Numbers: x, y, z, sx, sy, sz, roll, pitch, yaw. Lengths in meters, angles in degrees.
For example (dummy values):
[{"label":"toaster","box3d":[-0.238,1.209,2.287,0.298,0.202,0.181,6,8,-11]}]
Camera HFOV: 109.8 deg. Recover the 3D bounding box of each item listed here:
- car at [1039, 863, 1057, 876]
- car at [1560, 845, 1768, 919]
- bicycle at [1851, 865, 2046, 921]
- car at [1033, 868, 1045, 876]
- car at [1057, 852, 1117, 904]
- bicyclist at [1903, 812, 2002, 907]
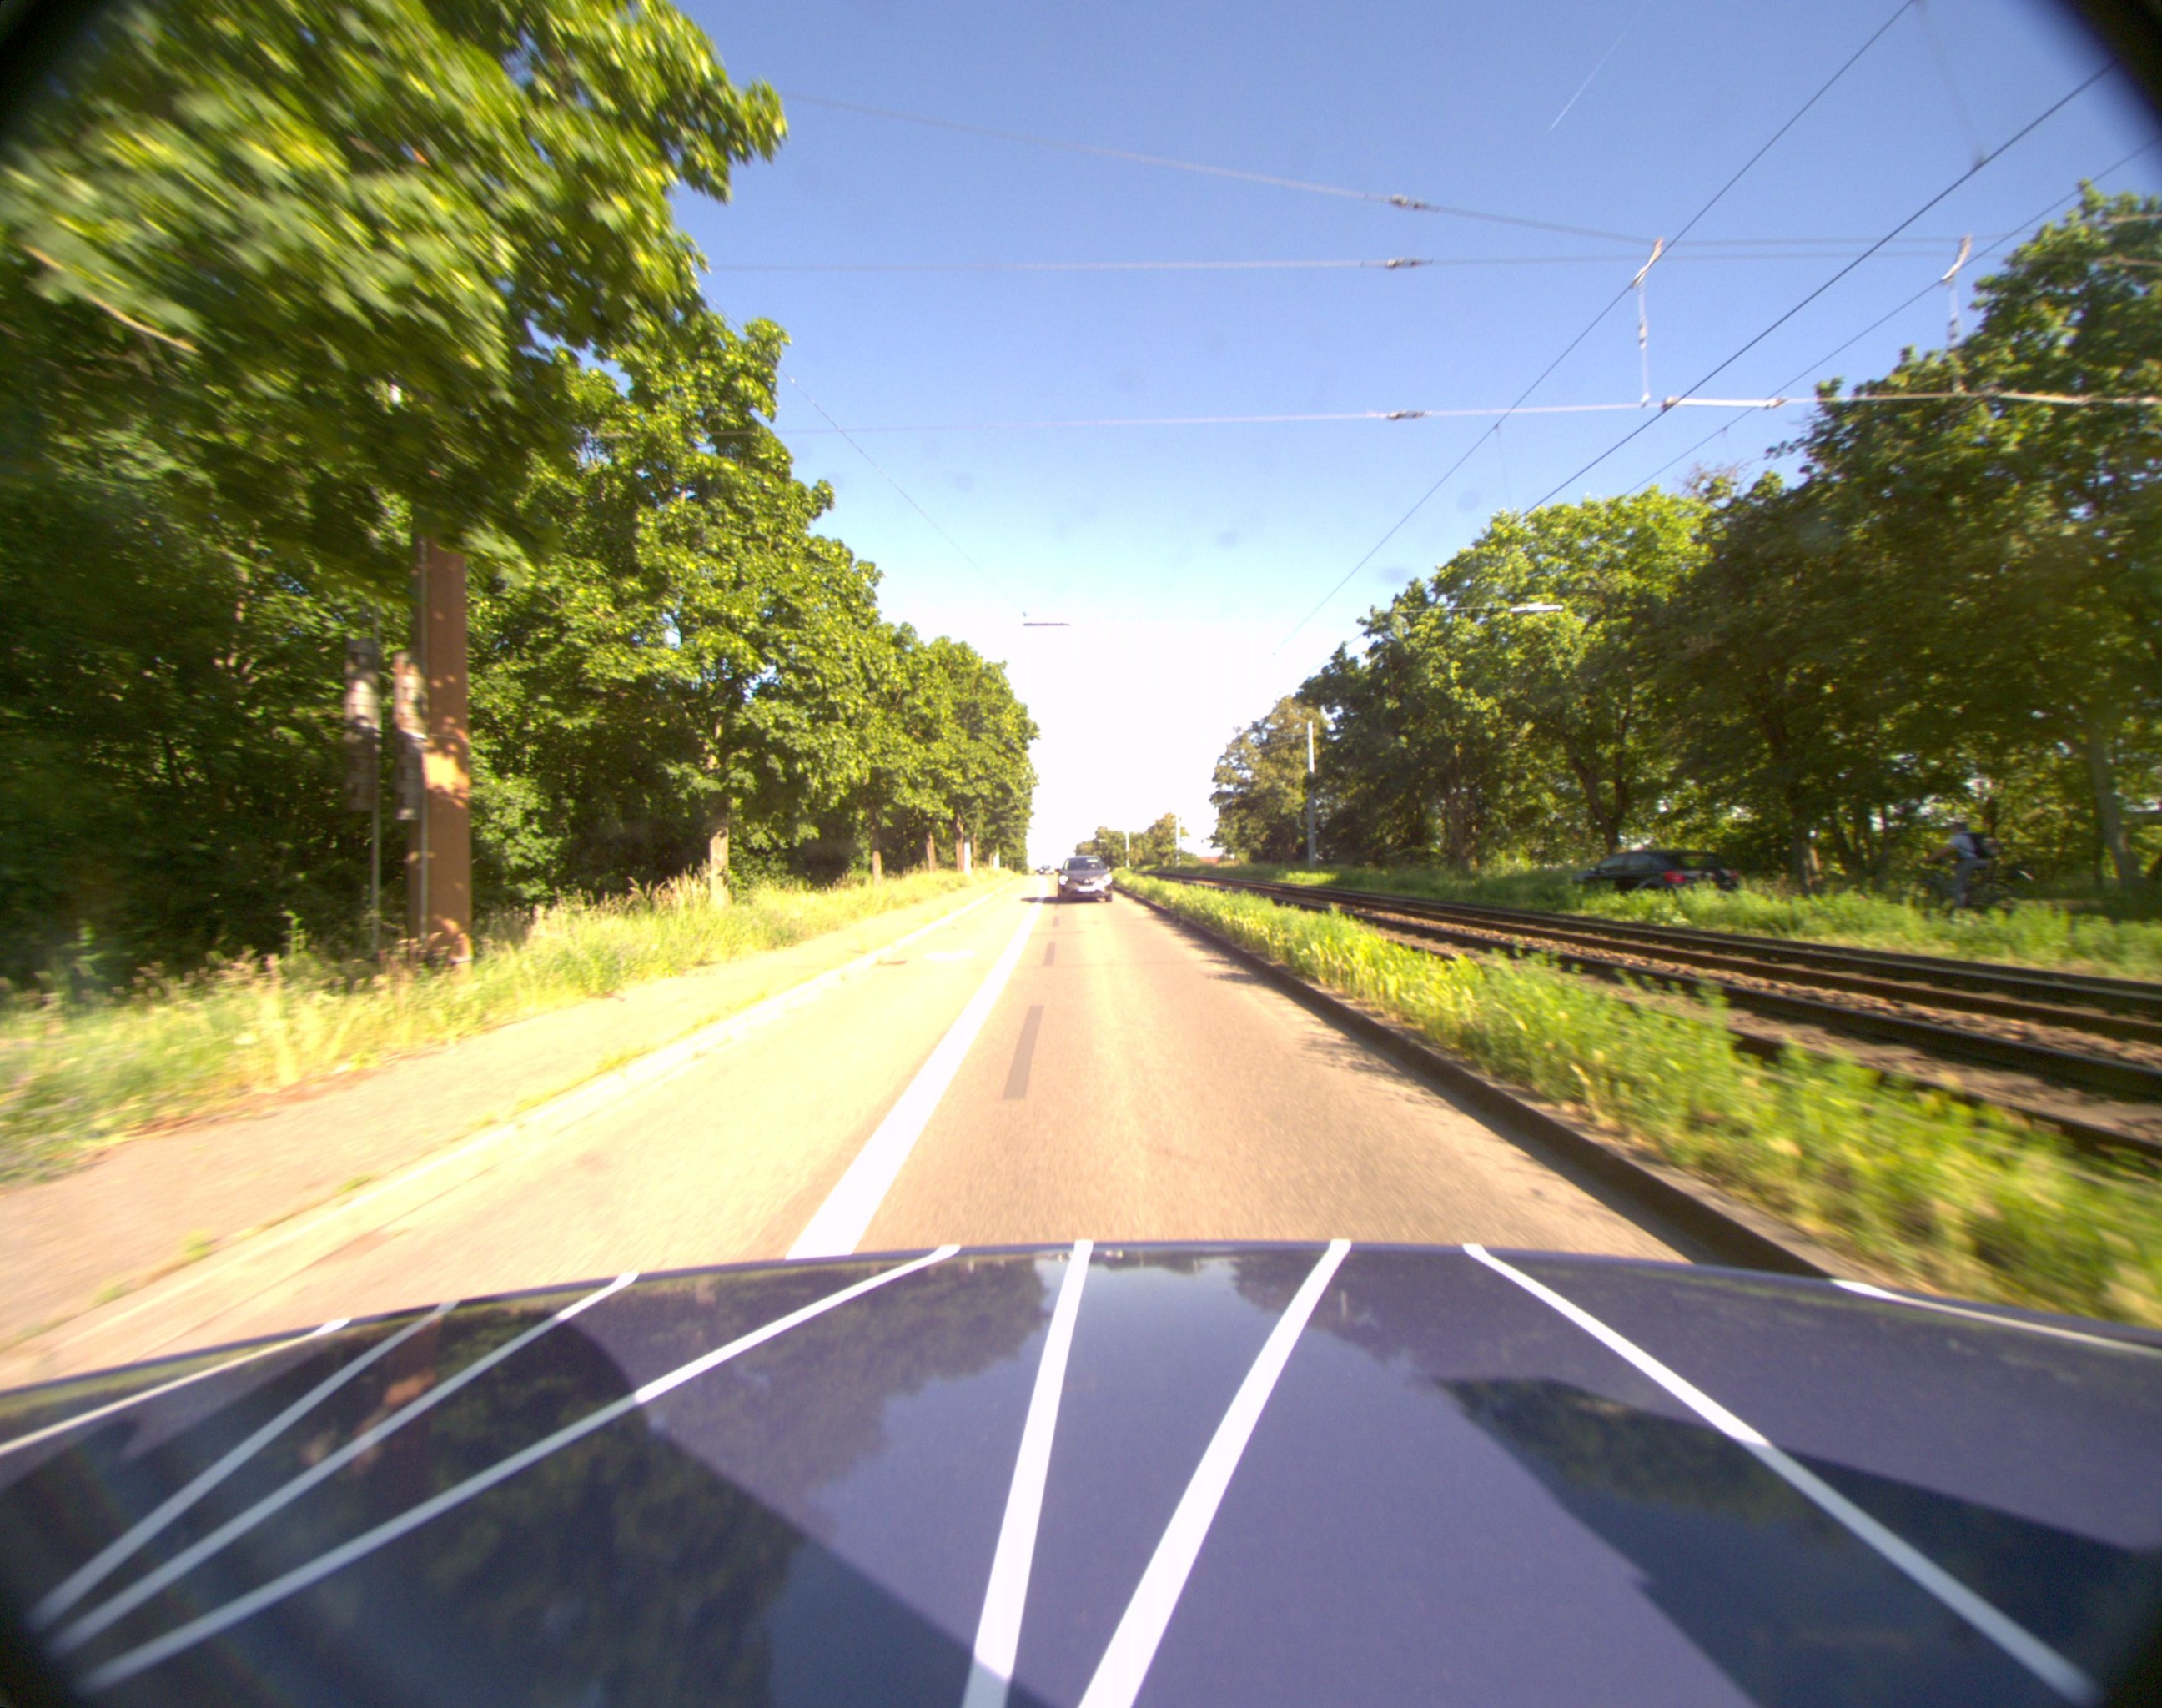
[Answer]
[{"label":"car","box3d":[-4.378,2.007,99.091,2.000,1.577,3.997,-2,0,-7]},{"label":"car","box3d":[13.324,0.571,17.719,1.715,1.471,3.999,-2,0,-1]},{"label":"bicycle","box3d":[16.507,0.704,14.598,0.820,0.909,2.537,-2,0,0]},{"label":"car","box3d":[-9.548,4.018,172.713,2.000,1.577,3.996,-2,0,-12]},{"label":"car","box3d":[0.121,0.782,26.700,1.822,1.589,4.412,-2,0,-2]},{"label":"bicyclist","box3d":[16.503,0.105,14.408,0.821,1.726,0.902,-2,1,0]}]
